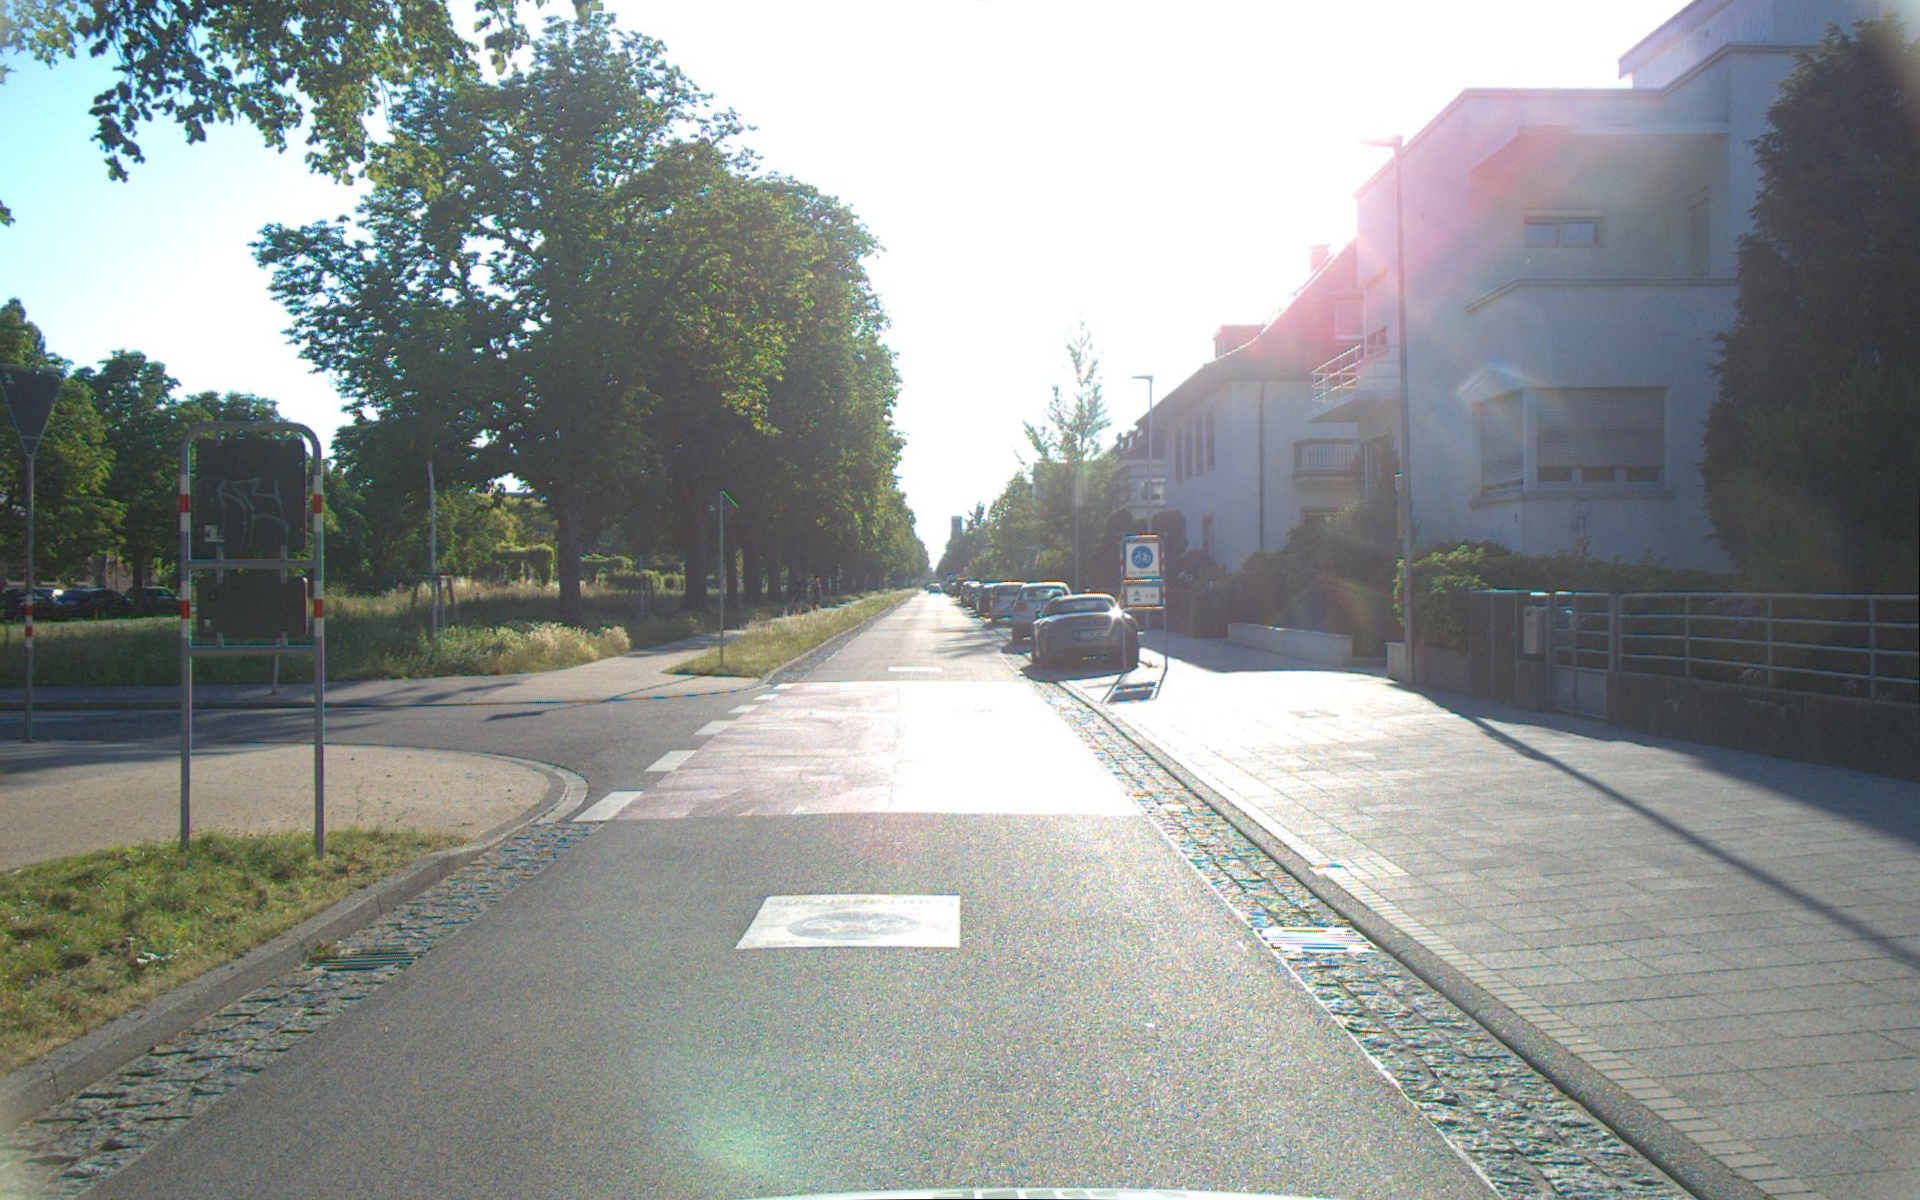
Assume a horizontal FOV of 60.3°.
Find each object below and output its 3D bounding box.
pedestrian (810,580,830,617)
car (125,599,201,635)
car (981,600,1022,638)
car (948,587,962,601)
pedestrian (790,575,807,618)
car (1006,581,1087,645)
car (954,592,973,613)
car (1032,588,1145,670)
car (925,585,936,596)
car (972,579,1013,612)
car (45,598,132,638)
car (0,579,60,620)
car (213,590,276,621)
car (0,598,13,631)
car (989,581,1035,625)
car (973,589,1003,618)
[{"bbox_3d":[-6.214,-0.072,73.406,0.767,1.643,0.952,0,0,2],"label":"pedestrian"},{"bbox_3d":[-37.756,0.789,78.470,1.658,1.625,4.220,0,1,-2],"label":"car"},{"bbox_3d":[1.827,0.811,71.614,1.623,1.520,3.717,-2,0,3],"label":"car"},{"bbox_3d":[-0.596,-0.692,193.033,1.618,1.568,3.266,1,0,0],"label":"car"},{"bbox_3d":[-7.148,-0.158,73.125,0.611,1.863,0.886,0,0,2],"label":"pedestrian"},{"bbox_3d":[2.206,0.295,43.196,1.709,1.499,3.921,-3,1,-2],"label":"car"},{"bbox_3d":[0.281,0.176,130.592,1.467,1.594,3.266,-1,0,0],"label":"car"},{"bbox_3d":[2.404,0.511,31.863,1.738,1.310,4.272,-3,1,0],"label":"car"},{"bbox_3d":[-4.409,-1.435,244.909,1.618,1.568,3.266,1,0,-1],"label":"car"},{"bbox_3d":[1.547,-0.211,79.436,1.702,1.474,4.195,-2,0,-2],"label":"car"},{"bbox_3d":[-37.872,0.767,72.017,1.658,1.625,4.220,0,1,-2],"label":"car"},{"bbox_3d":[-37.975,-0.043,66.194,1.658,1.625,4.220,0,1,-2],"label":"car"},{"bbox_3d":[-38.157,0.284,88.311,1.658,1.625,4.220,0,1,-2],"label":"car"},{"bbox_3d":[-43.111,0.642,71.969,1.596,1.430,3.999,0,1,-1],"label":"car"},{"bbox_3d":[1.970,0.092,63.102,1.594,1.531,3.633,-2,1,0],"label":"car"},{"bbox_3d":[1.507,0.172,89.356,1.560,1.536,3.591,-1,0,0],"label":"car"}]
